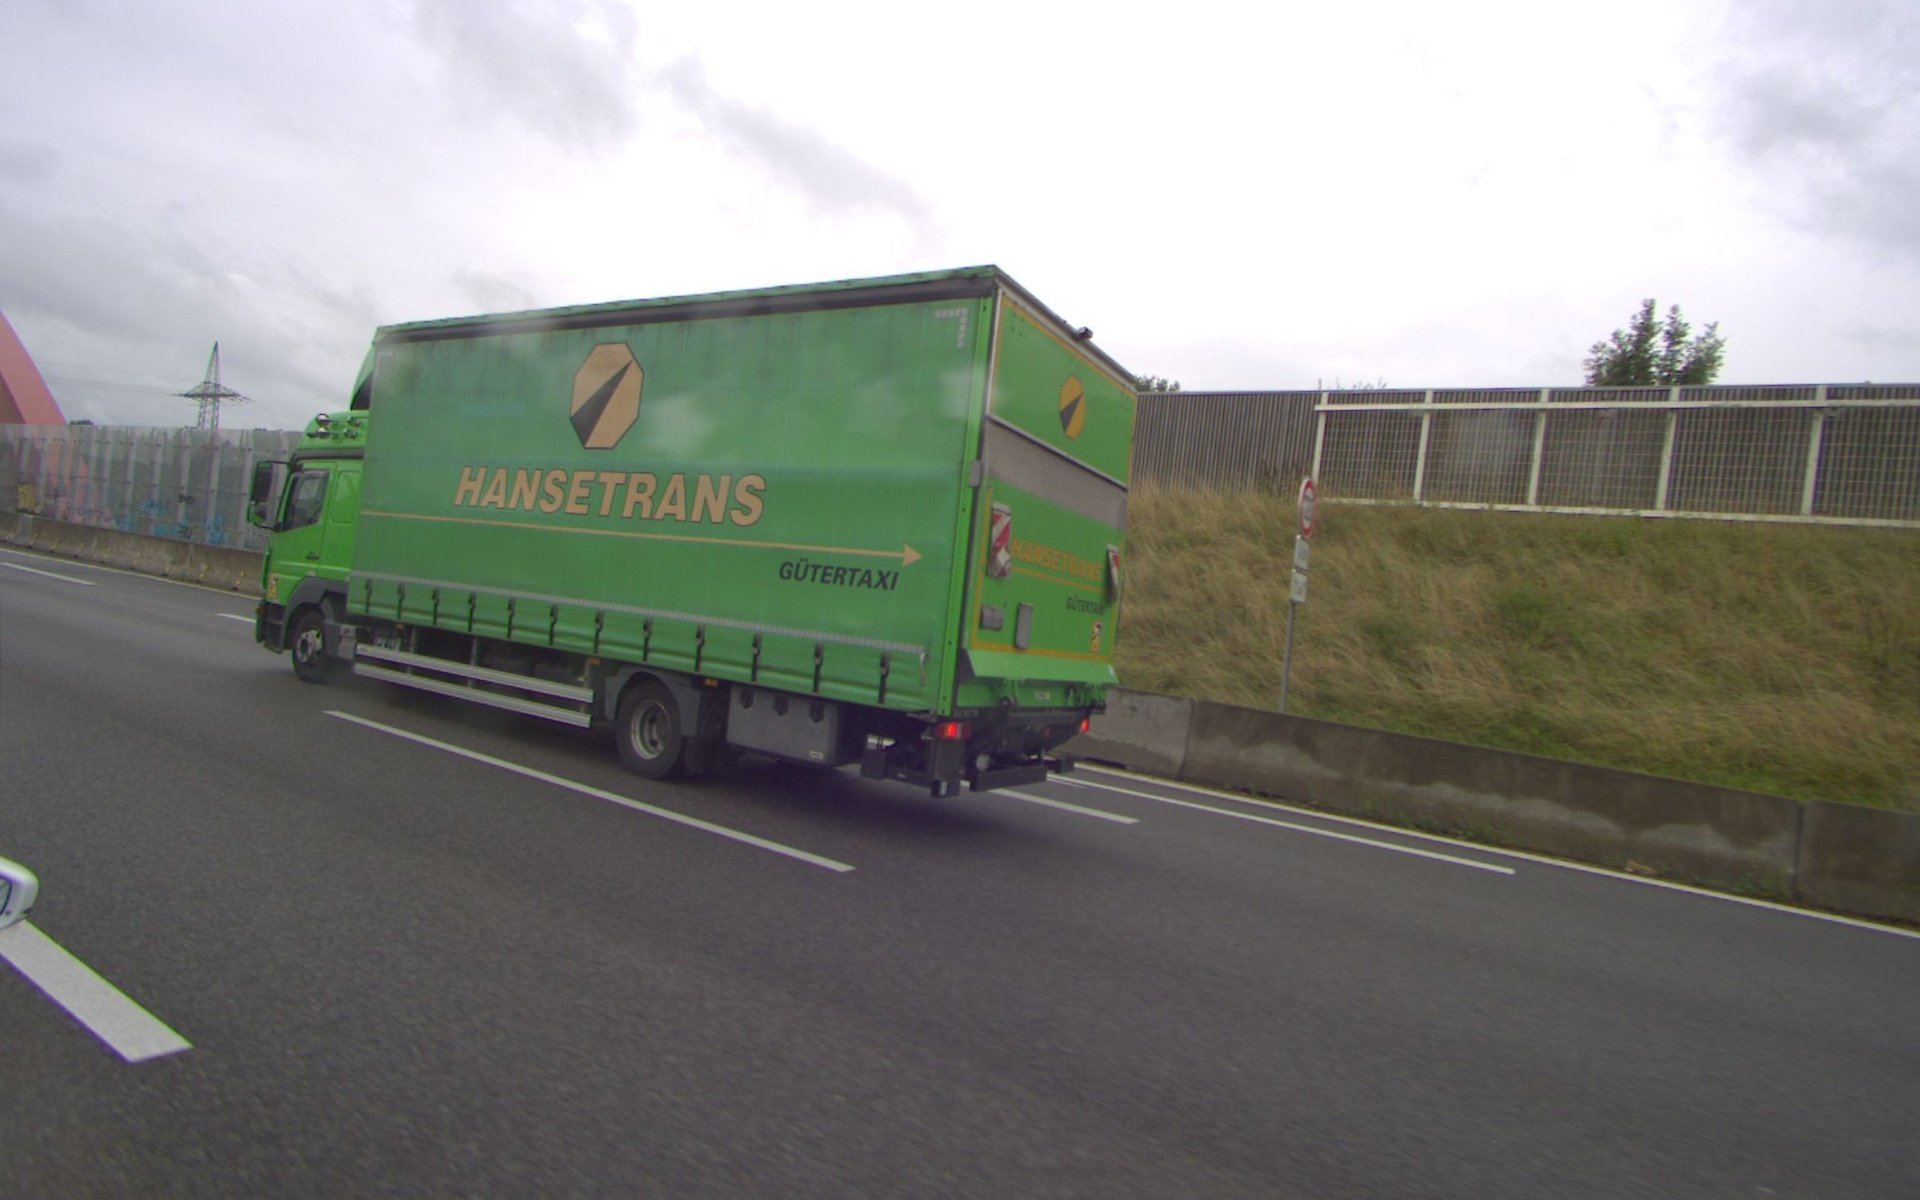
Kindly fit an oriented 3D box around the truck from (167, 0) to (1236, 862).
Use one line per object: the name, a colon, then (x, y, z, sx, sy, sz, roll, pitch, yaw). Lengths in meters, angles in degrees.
truck: (-3.377, -1.377, 10.739, 11.033, 5.327, 4.005, 6, -1, 32)
